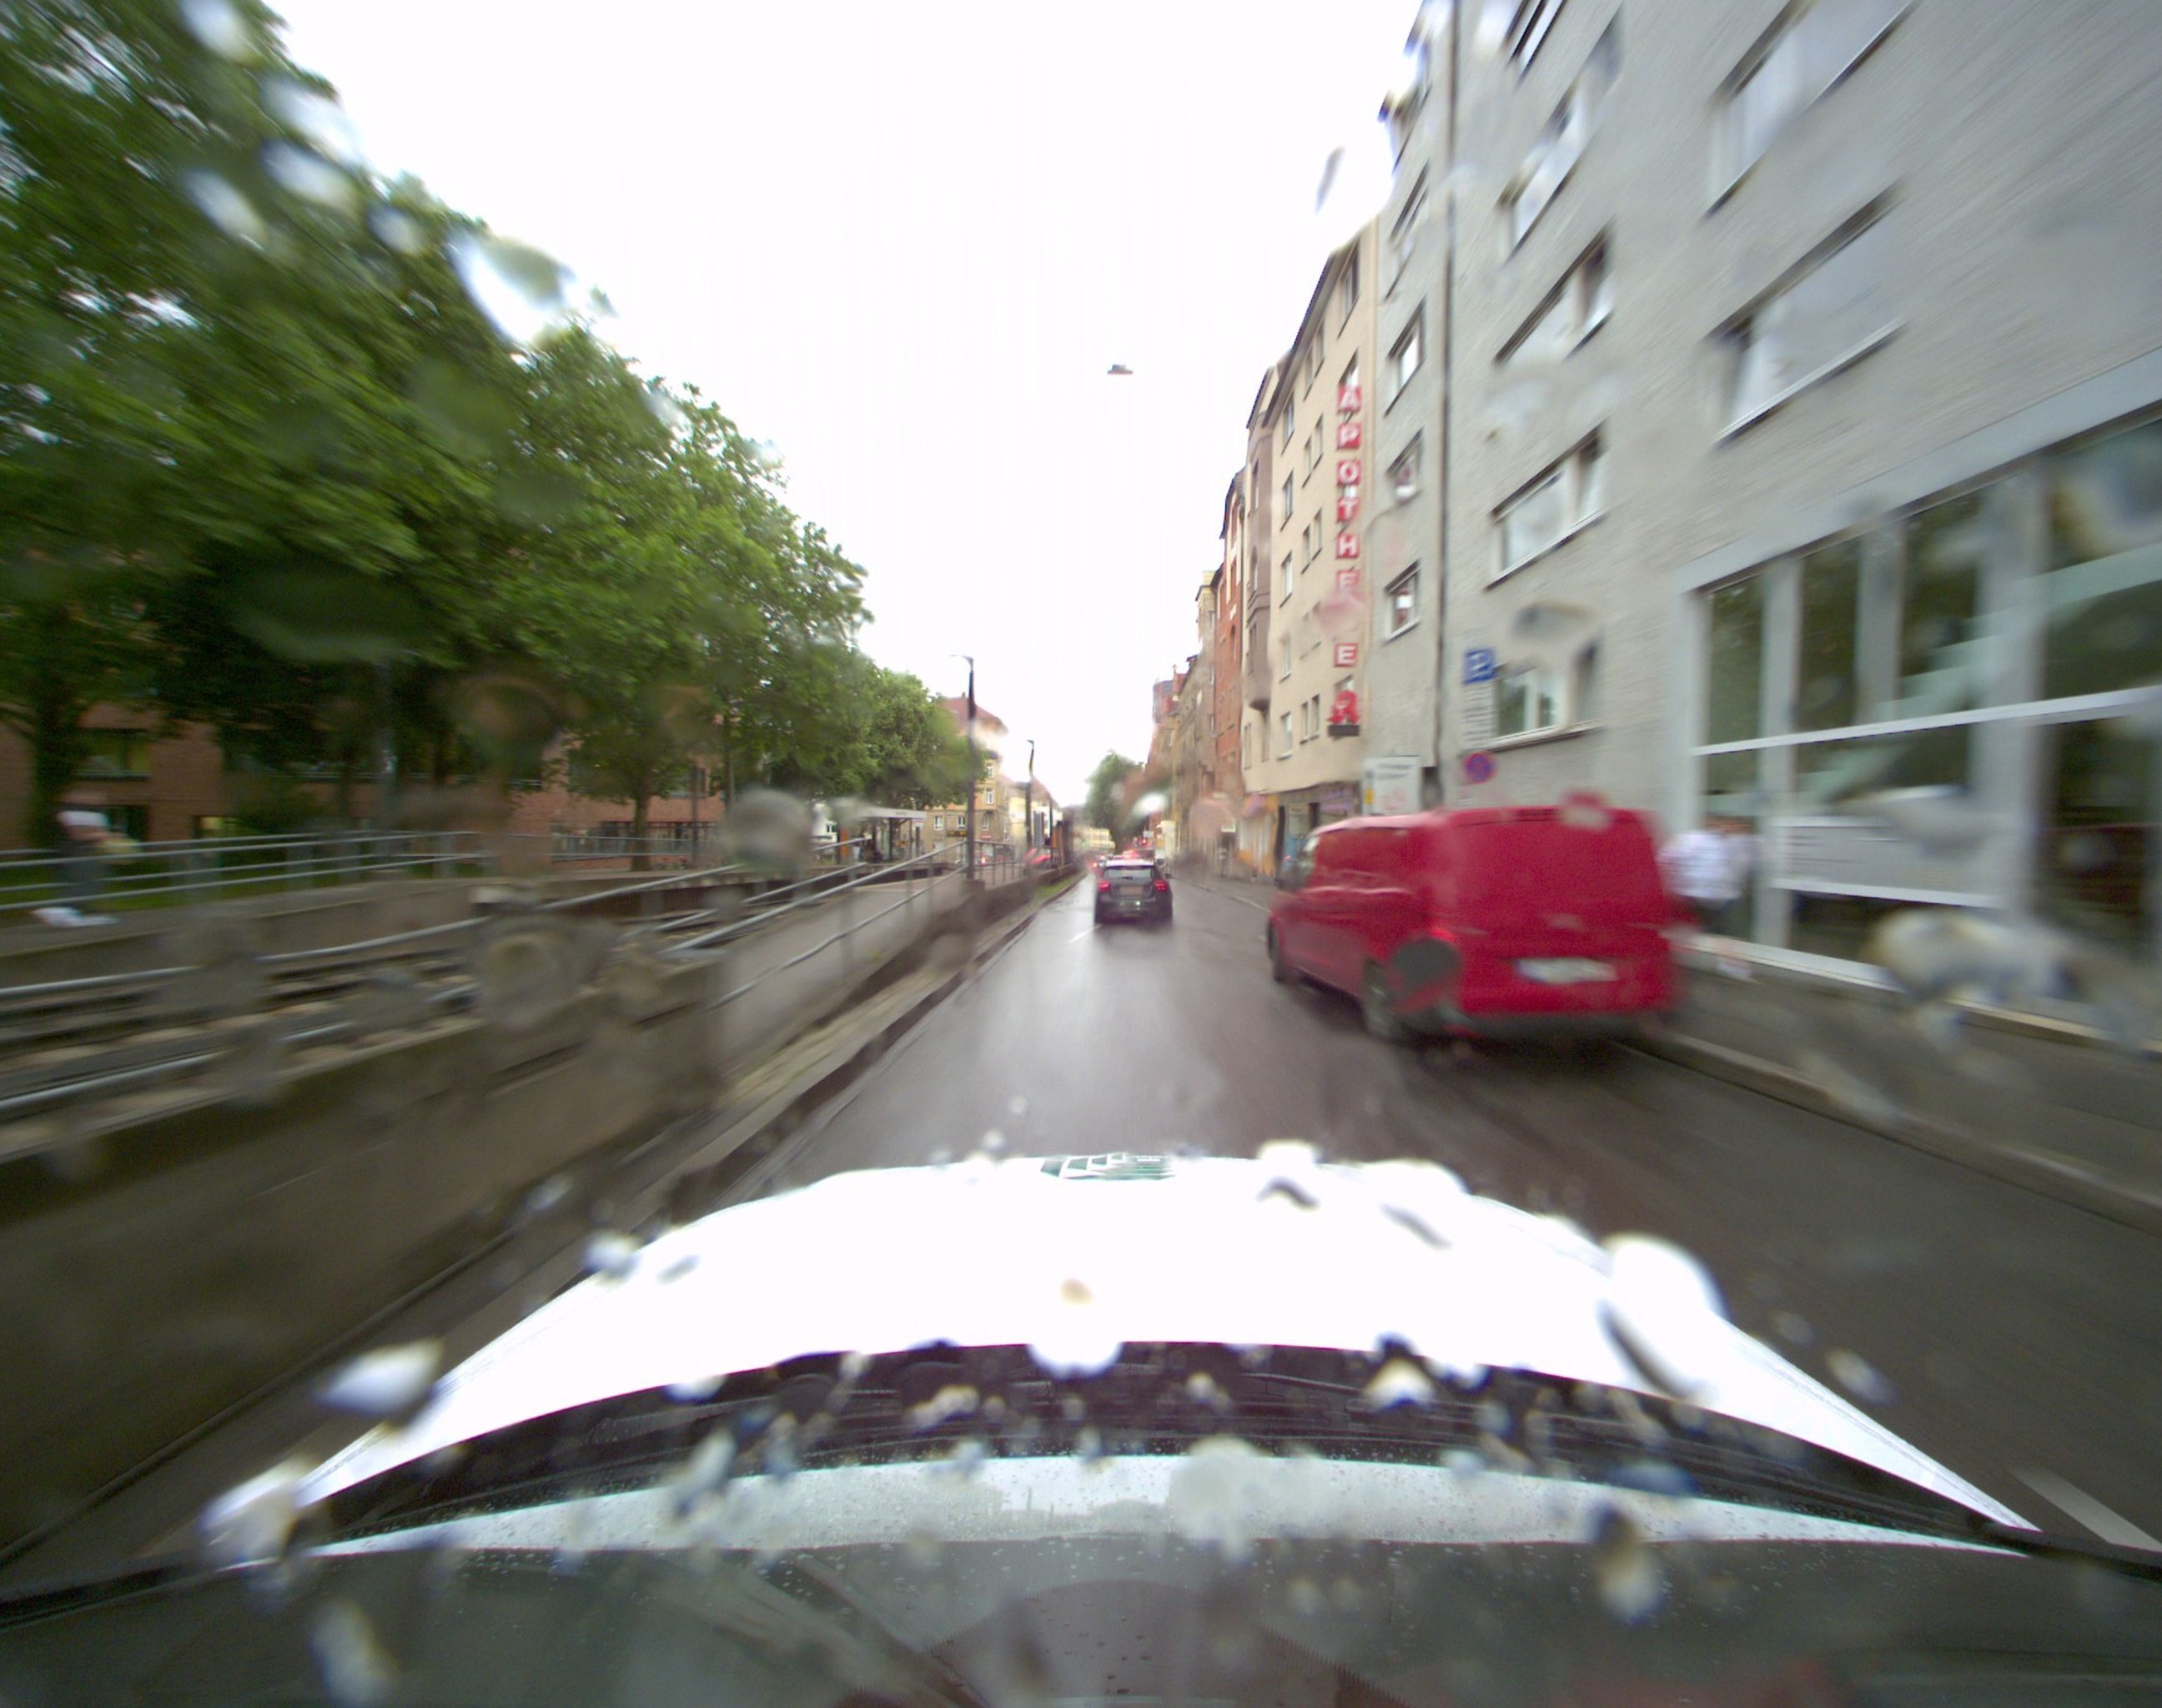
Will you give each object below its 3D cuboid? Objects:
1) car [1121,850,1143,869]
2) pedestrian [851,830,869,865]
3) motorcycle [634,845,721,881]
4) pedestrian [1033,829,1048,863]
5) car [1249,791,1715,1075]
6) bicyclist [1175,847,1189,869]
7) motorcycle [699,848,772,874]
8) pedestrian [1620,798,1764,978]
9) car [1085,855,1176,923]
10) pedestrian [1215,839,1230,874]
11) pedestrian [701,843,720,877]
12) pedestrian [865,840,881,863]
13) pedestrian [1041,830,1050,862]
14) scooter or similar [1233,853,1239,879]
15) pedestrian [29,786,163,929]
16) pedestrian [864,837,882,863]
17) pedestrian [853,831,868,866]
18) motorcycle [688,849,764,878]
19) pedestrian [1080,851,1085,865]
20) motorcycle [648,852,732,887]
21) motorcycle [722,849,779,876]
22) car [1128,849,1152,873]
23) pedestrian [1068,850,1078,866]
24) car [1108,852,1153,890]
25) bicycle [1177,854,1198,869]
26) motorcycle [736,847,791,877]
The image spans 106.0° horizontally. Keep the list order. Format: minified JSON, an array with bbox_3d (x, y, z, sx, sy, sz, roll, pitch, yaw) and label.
[{"bbox_3d":[5.160,0.561,83.180,1.927,1.831,4.279,0,0,-1],"label":"car"},{"bbox_3d":[-10.588,-0.297,38.978,0.684,1.641,0.564,1,1,-1],"label":"pedestrian"},{"bbox_3d":[-20.243,0.423,40.950,3.851,1.774,1.006,0,0,0],"label":"motorcycle"},{"bbox_3d":[-1.932,-0.399,38.828,0.492,1.605,0.640,0,0,18],"label":"pedestrian"},{"bbox_3d":[3.167,0.507,7.946,1.968,1.838,5.245,0,0,0],"label":"car"},{"bbox_3d":[7.599,0.276,61.367,0.854,1.657,0.624,-1,-1,-39],"label":"bicyclist"},{"bbox_3d":[-20.390,0.409,48.142,3.851,1.487,1.006,0,0,0],"label":"motorcycle"},{"bbox_3d":[6.278,0.332,8.418,0.848,1.757,0.838,1,0,2],"label":"pedestrian"},{"bbox_3d":[1.123,0.748,19.062,1.887,1.390,4.002,-1,-1,2],"label":"car"},{"bbox_3d":[7.695,0.145,44.321,0.576,1.830,0.563,-4,-1,-1],"label":"pedestrian"},{"bbox_3d":[-22.777,0.361,50.079,0.729,2.013,0.981,0,0,4],"label":"pedestrian"},{"bbox_3d":[-11.216,-0.147,43.889,0.701,1.240,0.564,1,1,-1],"label":"pedestrian"},{"bbox_3d":[-1.783,-0.407,40.863,0.408,1.605,0.450,0,0,-4],"label":"pedestrian"},{"bbox_3d":[7.470,0.552,39.214,0.256,1.222,1.198,0,0,11],"label":"scooter or similar"},{"bbox_3d":[-11.848,0.018,9.827,0.655,1.662,0.688,1,4,1],"label":"pedestrian"},{"bbox_3d":[-11.072,-0.231,43.304,0.775,1.362,0.564,1,1,-1],"label":"pedestrian"},{"bbox_3d":[-10.963,-0.266,40.514,0.560,1.715,0.706,1,1,0],"label":"pedestrian"},{"bbox_3d":[-20.076,0.527,46.133,3.851,1.605,1.006,0,0,0],"label":"motorcycle"},{"bbox_3d":[0.187,0.412,87.479,0.531,1.530,0.435,0,0,-6],"label":"pedestrian"},{"bbox_3d":[-20.513,0.794,42.773,3.851,1.816,1.006,0,0,0],"label":"motorcycle"},{"bbox_3d":[-20.005,0.515,49.353,3.048,1.627,1.006,0,0,0],"label":"motorcycle"},{"bbox_3d":[4.836,0.526,67.402,1.913,1.936,4.689,0,0,3],"label":"car"},{"bbox_3d":[-0.842,0.380,87.595,0.745,1.724,0.732,0,0,-42],"label":"pedestrian"},{"bbox_3d":[2.093,0.684,35.137,1.674,1.489,3.612,-1,0,0],"label":"car"},{"bbox_3d":[7.980,0.554,61.040,1.698,1.115,0.459,-1,0,-40],"label":"bicycle"},{"bbox_3d":[-19.902,0.489,51.046,3.026,1.816,0.993,0,0,0],"label":"motorcycle"}]
